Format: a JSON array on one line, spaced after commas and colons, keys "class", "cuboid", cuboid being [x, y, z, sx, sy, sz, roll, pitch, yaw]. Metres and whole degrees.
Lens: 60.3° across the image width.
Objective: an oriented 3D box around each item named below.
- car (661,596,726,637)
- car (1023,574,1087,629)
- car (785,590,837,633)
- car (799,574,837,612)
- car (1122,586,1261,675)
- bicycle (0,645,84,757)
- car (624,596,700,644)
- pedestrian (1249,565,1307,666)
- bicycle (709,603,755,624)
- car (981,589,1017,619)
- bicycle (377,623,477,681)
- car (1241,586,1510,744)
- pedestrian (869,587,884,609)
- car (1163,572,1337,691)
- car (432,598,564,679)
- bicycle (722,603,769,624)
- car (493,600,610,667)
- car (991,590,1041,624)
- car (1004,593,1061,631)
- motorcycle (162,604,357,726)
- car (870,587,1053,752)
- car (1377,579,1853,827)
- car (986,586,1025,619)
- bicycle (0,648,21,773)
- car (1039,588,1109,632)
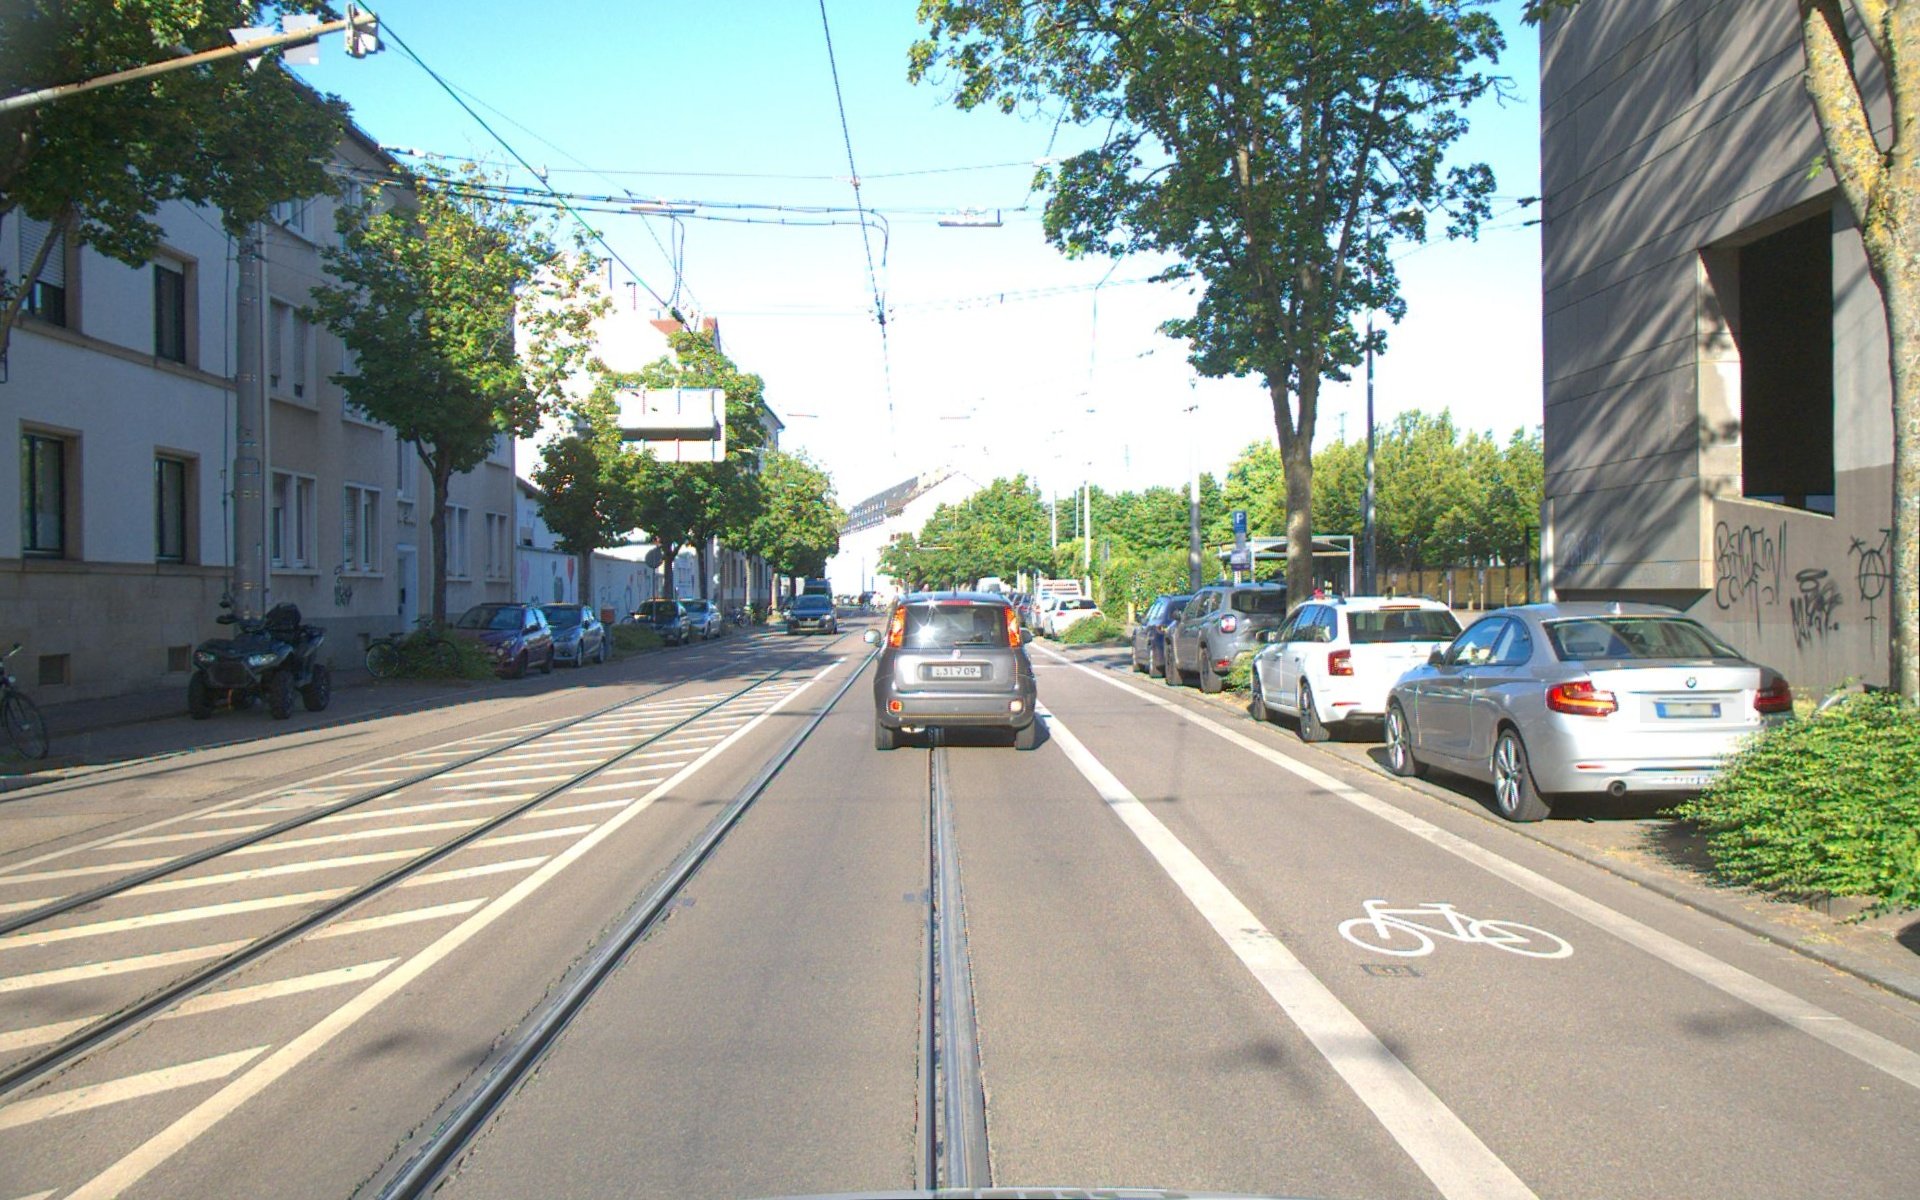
[{"class": "car", "cuboid": [-10.007, 0.601, 62.413, 1.917, 1.444, 4.186, -1, 0, -3]}, {"class": "car", "cuboid": [3.505, 0.037, 61.623, 1.917, 1.938, 4.186, -1, 0, -3]}, {"class": "car", "cuboid": [-5.567, 0.406, 62.329, 1.745, 1.518, 4.186, -1, 0, -3]}, {"class": "car", "cuboid": [-10.021, -0.494, 117.174, 2.286, 2.614, 5.670, -1, 0, -1]}, {"class": "car", "cuboid": [4.227, 0.515, 30.869, 1.805, 1.509, 4.186, -1, 0, -3]}, {"class": "bicycle", "cuboid": [-9.320, 0.958, 15.743, 1.682, 1.052, 0.441, 0, -1, -22]}, {"class": "car", "cuboid": [-9.878, 0.635, 55.104, 1.917, 1.444, 4.186, -1, 0, -3]}, {"class": "pedestrian", "cuboid": [6.555, 0.312, 34.135, 0.948, 2.049, 1.025, -1, 0, 0]}, {"class": "bicycle", "cuboid": [-10.770, 0.637, 78.120, 2.219, 0.946, 0.788, -1, 0, 35]}, {"class": "car", "cuboid": [2.105, 0.212, 90.091, 1.662, 1.525, 3.998, -1, 1, -2]}, {"class": "bicycle", "cuboid": [-9.787, 0.946, 30.377, 1.719, 1.041, 0.605, 0, -1, -22]}, {"class": "car", "cuboid": [4.386, 0.608, 18.215, 1.710, 1.483, 4.617, -1, 0, -1]}, {"class": "pedestrian", "cuboid": [-6.893, -0.135, 136.733, 0.984, 1.805, 0.885, -1, 0, -20]}, {"class": "car", "cuboid": [4.412, 0.436, 25.774, 1.781, 1.669, 4.103, -1, 0, -3]}, {"class": "car", "cuboid": [-9.519, 0.756, 34.355, 1.762, 1.512, 3.998, -1, 0, -3]}, {"class": "bicycle", "cuboid": [-10.235, 0.663, 79.022, 2.277, 0.946, 0.788, -1, 0, 35]}, {"class": "car", "cuboid": [-9.700, 0.749, 39.593, 1.917, 1.444, 4.186, -1, 0, -3]}, {"class": "car", "cuboid": [2.518, 0.304, 75.270, 1.917, 1.444, 4.186, -1, 0, -3]}, {"class": "car", "cuboid": [2.916, 0.454, 67.317, 1.917, 1.444, 4.186, -1, 0, -3]}, {"class": "motorcycle", "cuboid": [-9.562, 0.839, 22.789, 1.429, 1.507, 3.100, -1, 0, -2]}, {"class": "car", "cuboid": [-0.019, 0.657, 17.554, 1.696, 1.527, 3.999, -1, 0, -1]}, {"class": "car", "cuboid": [4.571, 0.622, 12.279, 1.785, 1.489, 4.155, -1, 0, -2]}, {"class": "car", "cuboid": [2.285, 0.109, 83.674, 1.662, 1.574, 3.998, -1, 1, -2]}, {"class": "bicycle", "cuboid": [-8.944, 0.957, 14.123, 1.593, 1.062, 0.453, 0, -1, -33]}, {"class": "car", "cuboid": [3.868, 0.304, 56.720, 1.876, 1.399, 4.186, -1, 0, -3]}]
